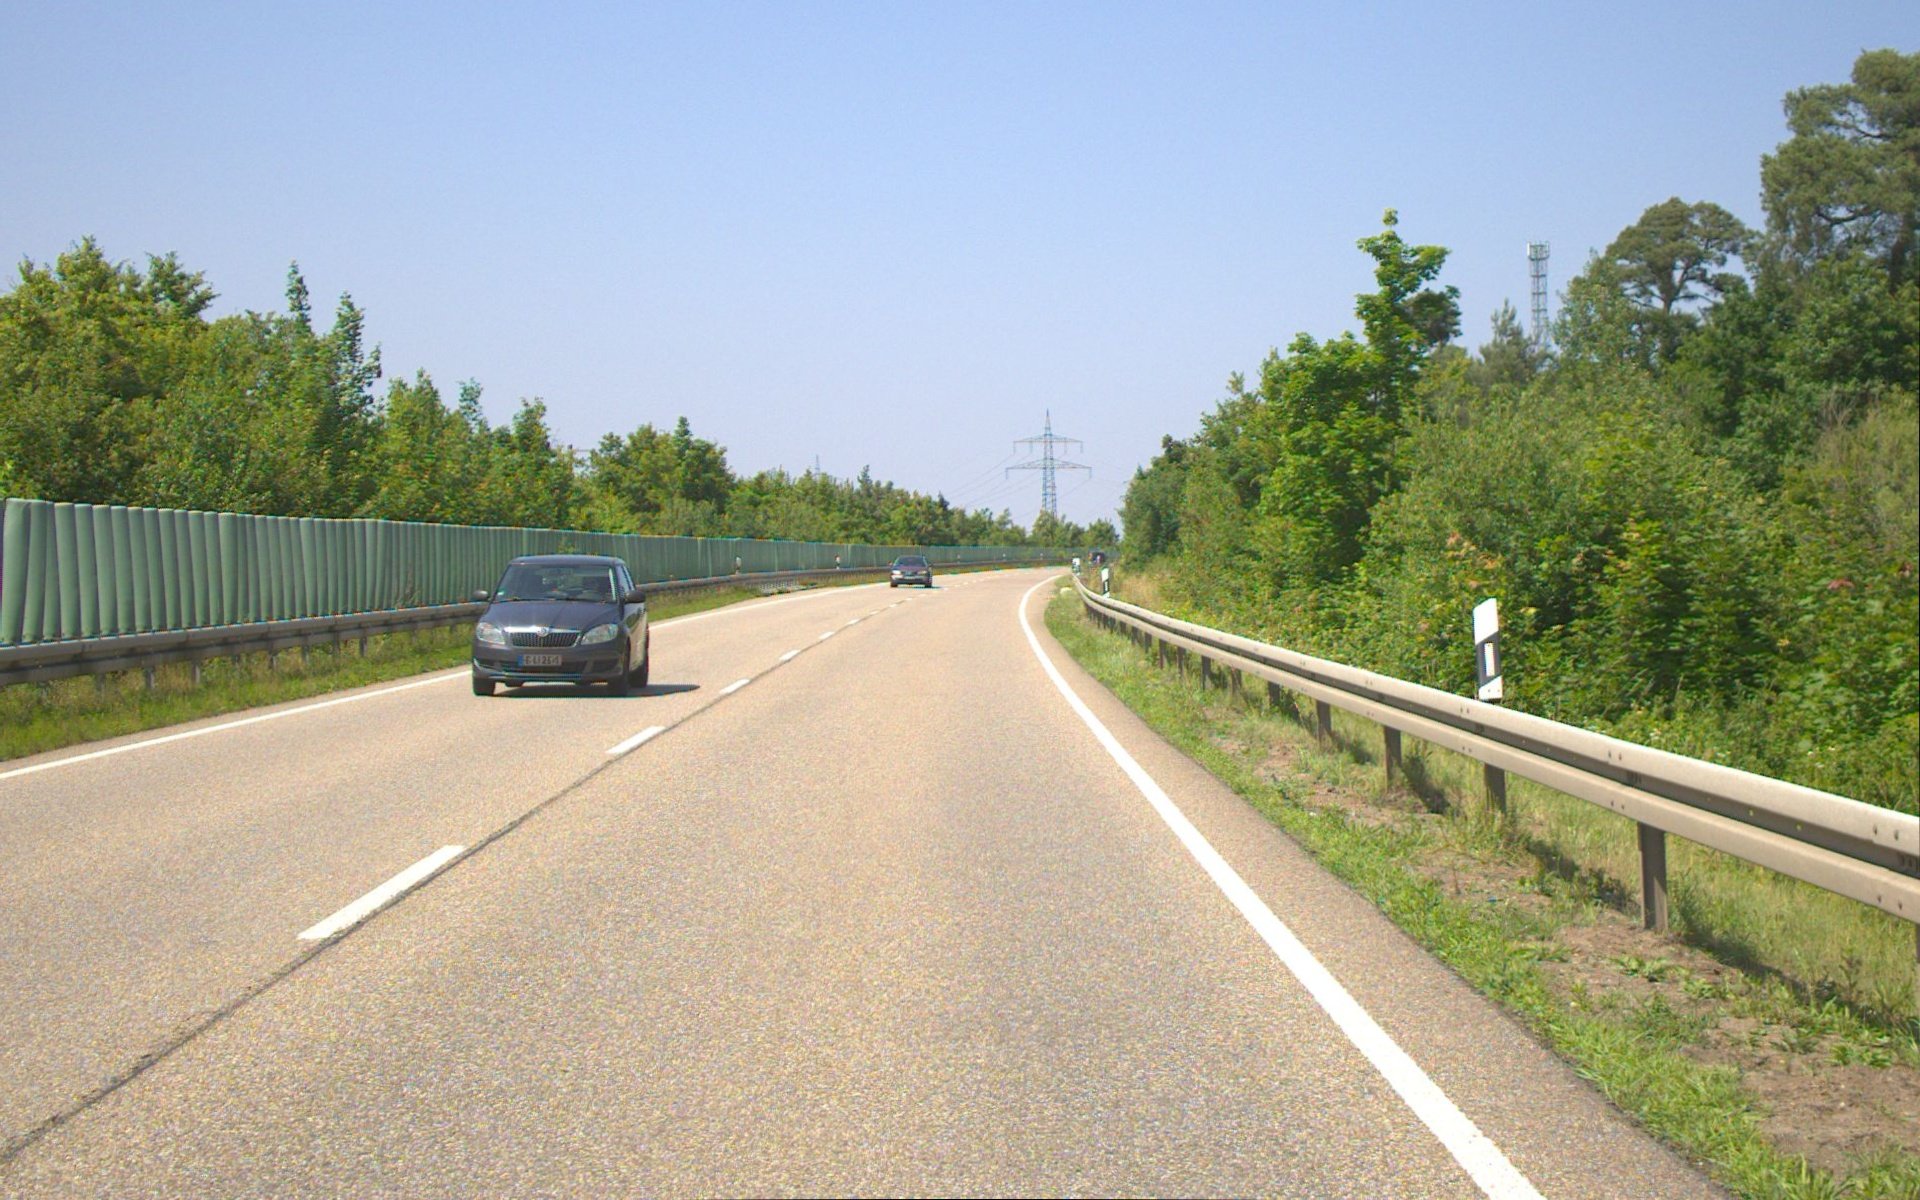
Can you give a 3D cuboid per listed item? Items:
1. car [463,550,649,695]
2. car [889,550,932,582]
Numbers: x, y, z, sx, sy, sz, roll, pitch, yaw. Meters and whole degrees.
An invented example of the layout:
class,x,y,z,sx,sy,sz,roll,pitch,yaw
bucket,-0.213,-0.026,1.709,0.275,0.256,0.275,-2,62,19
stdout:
class,x,y,z,sx,sy,sz,roll,pitch,yaw
car,-4.333,0.204,37.287,1.648,1.474,3.677,0,1,-1
car,-2.201,-1.508,152.509,1.786,1.367,3.897,1,1,1
